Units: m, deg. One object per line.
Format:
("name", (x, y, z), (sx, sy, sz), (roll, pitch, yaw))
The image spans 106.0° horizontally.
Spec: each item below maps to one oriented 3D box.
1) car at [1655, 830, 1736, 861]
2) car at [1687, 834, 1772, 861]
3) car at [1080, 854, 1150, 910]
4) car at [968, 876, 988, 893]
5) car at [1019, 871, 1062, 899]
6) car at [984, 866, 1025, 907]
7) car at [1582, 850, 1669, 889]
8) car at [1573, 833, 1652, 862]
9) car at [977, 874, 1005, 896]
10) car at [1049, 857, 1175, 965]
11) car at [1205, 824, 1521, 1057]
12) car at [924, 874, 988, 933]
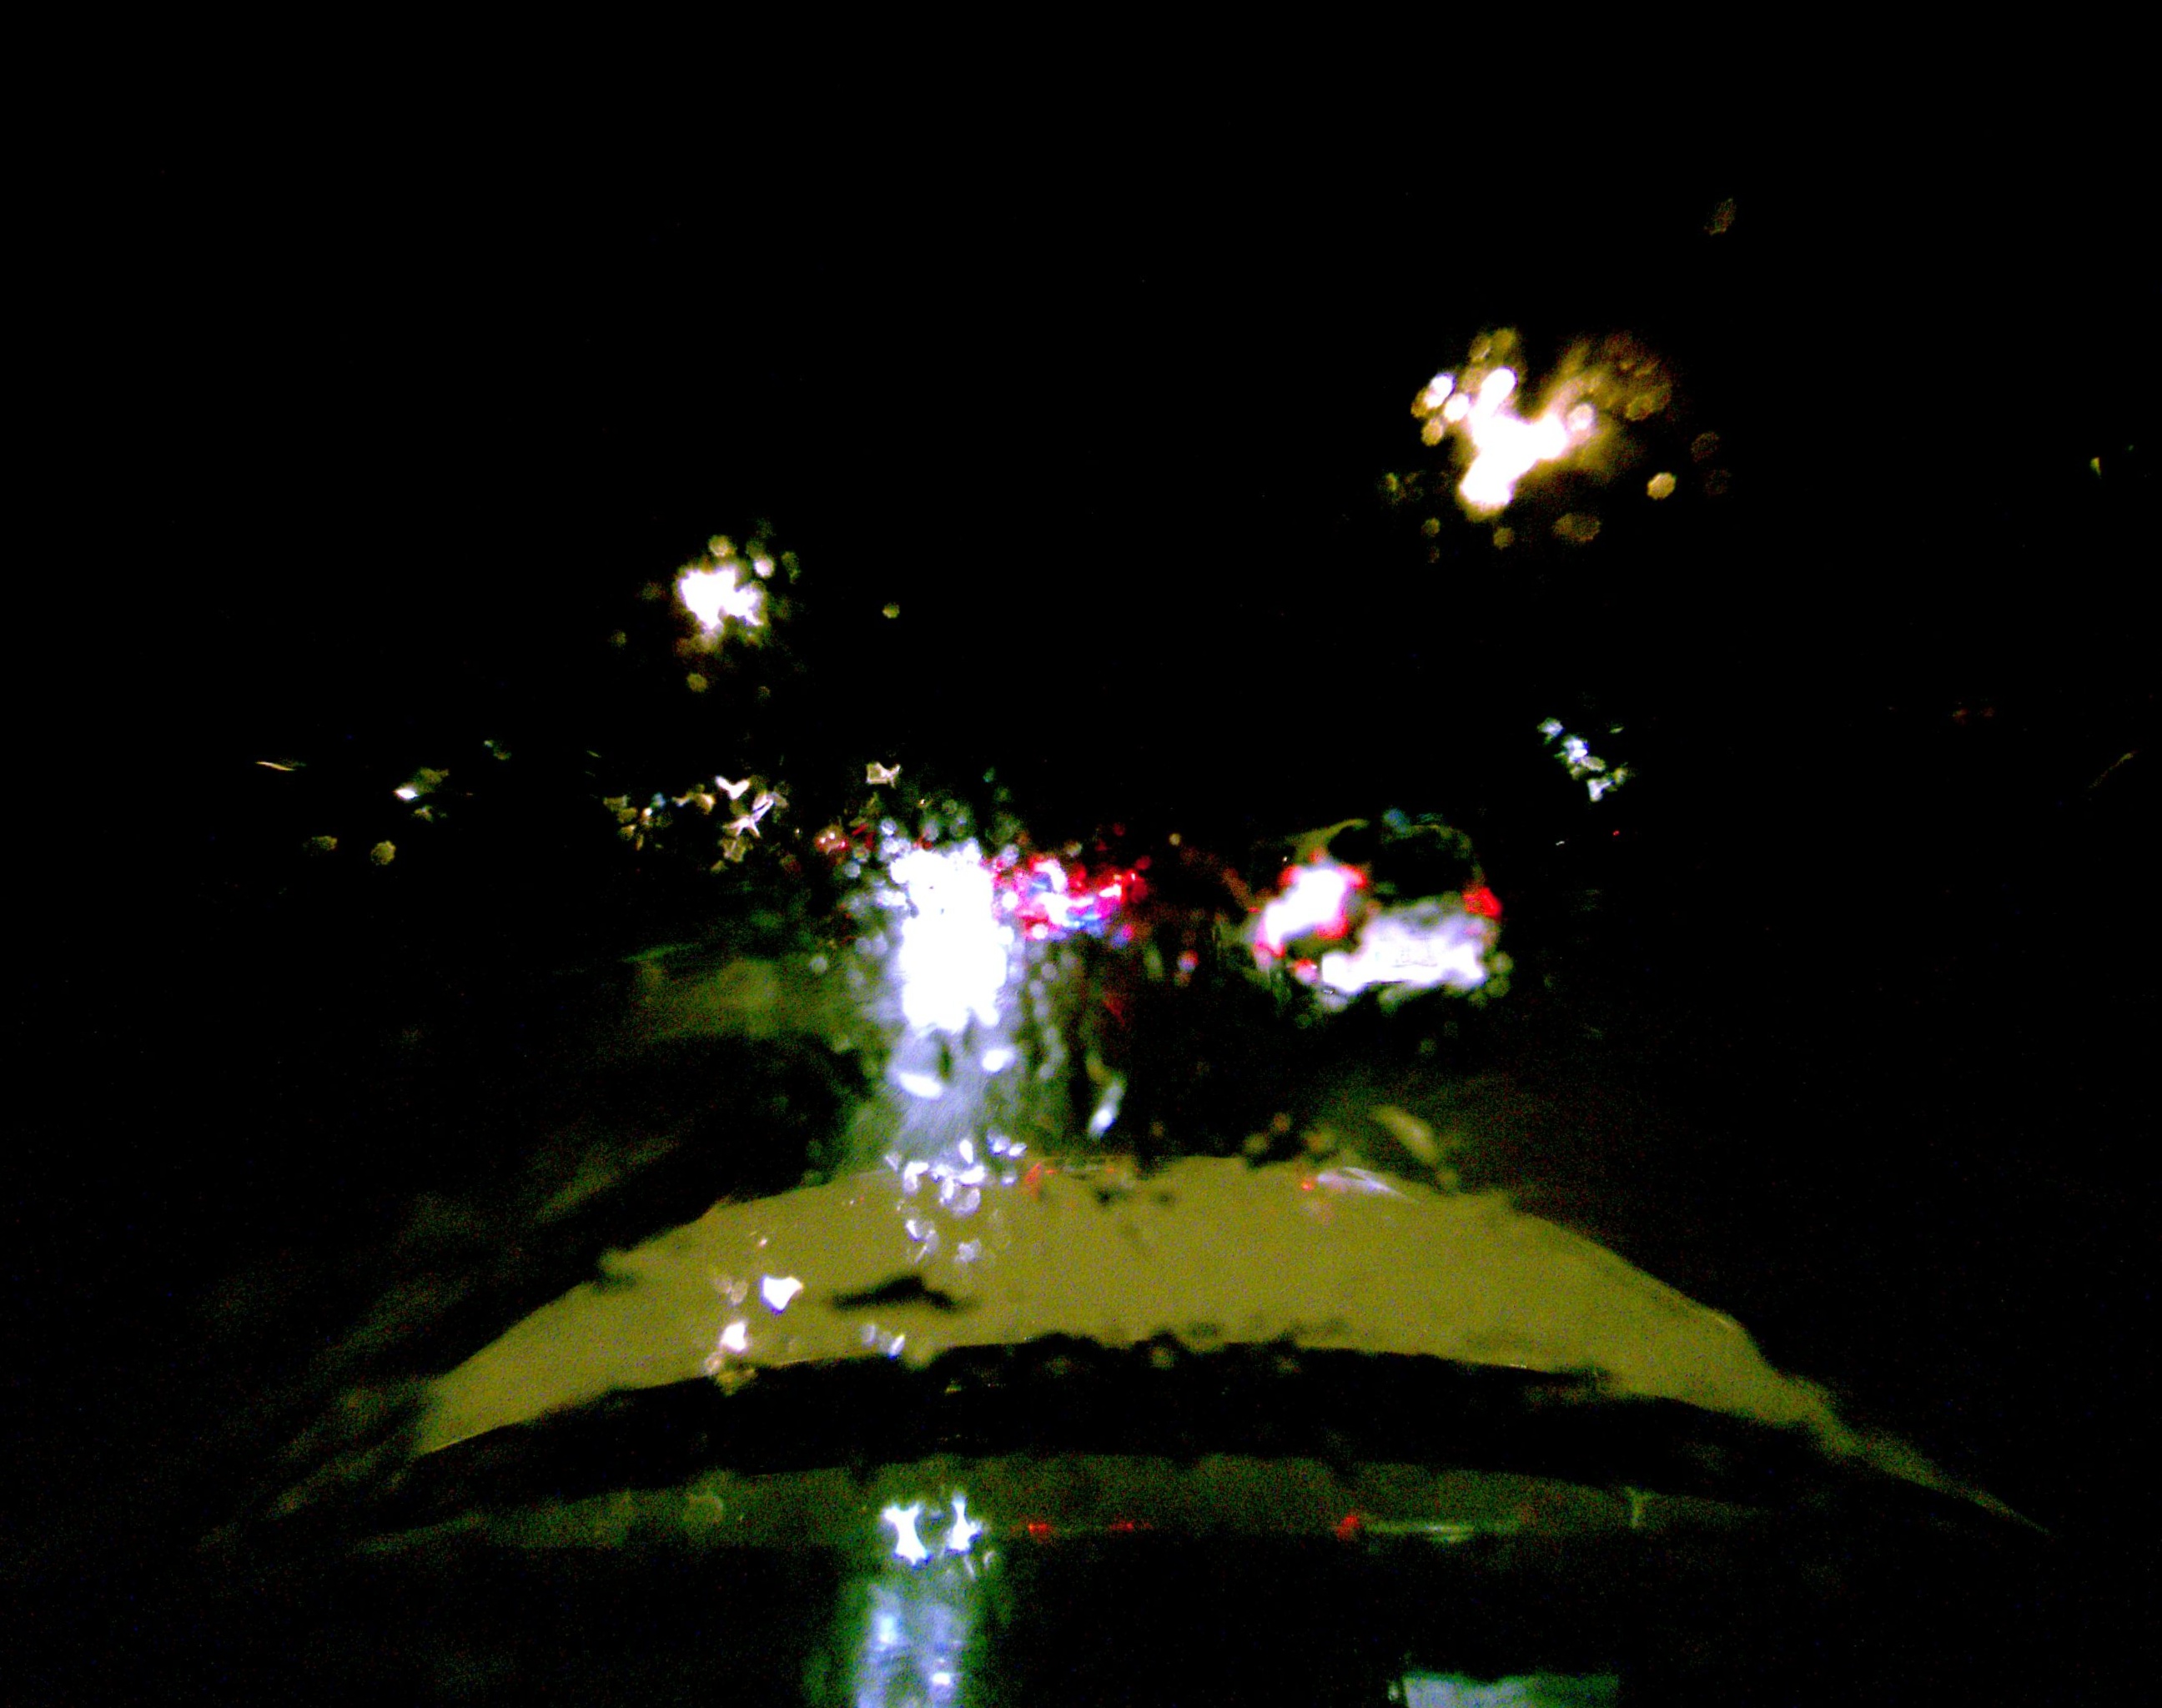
("car", (42.415, -0.555, 56.287), (3.957, 2.014, 2.008), (-1, -2, 15))
("car", (42.678, -0.405, 53.697), (3.955, 1.706, 2.009), (-1, -2, 17))
("car", (1.238, 1.076, 31.685), (1.968, 2.047, 3.987), (0, -2, -9))
("car", (-11.145, 3.270, 87.793), (1.994, 1.733, 3.985), (0, -2, -10))
("car", (-2.685, 1.992, 53.106), (1.997, 1.718, 3.979), (0, -2, -15))
("car", (-4.021, 1.670, 42.426), (1.992, 2.014, 3.988), (0, -2, -8))
("car", (25.355, 0.756, 38.089), (1.853, 1.647, 3.974), (-3, -2, 10))
("car", (33.469, -0.374, 51.427), (1.775, 1.669, 4.048), (0, -2, -15))
("car", (-7.253, 2.455, 65.107), (1.994, 1.733, 3.985), (0, -2, -10))
("car", (0.506, 0.974, 15.264), (2.008, 1.717, 4.451), (0, -2, 0))
("car", (2.608, 0.755, 8.747), (1.846, 1.865, 4.338), (0, -2, -1))
("car", (-4.452, 1.669, 28.611), (2.016, 1.887, 4.433), (0, -2, -12))
